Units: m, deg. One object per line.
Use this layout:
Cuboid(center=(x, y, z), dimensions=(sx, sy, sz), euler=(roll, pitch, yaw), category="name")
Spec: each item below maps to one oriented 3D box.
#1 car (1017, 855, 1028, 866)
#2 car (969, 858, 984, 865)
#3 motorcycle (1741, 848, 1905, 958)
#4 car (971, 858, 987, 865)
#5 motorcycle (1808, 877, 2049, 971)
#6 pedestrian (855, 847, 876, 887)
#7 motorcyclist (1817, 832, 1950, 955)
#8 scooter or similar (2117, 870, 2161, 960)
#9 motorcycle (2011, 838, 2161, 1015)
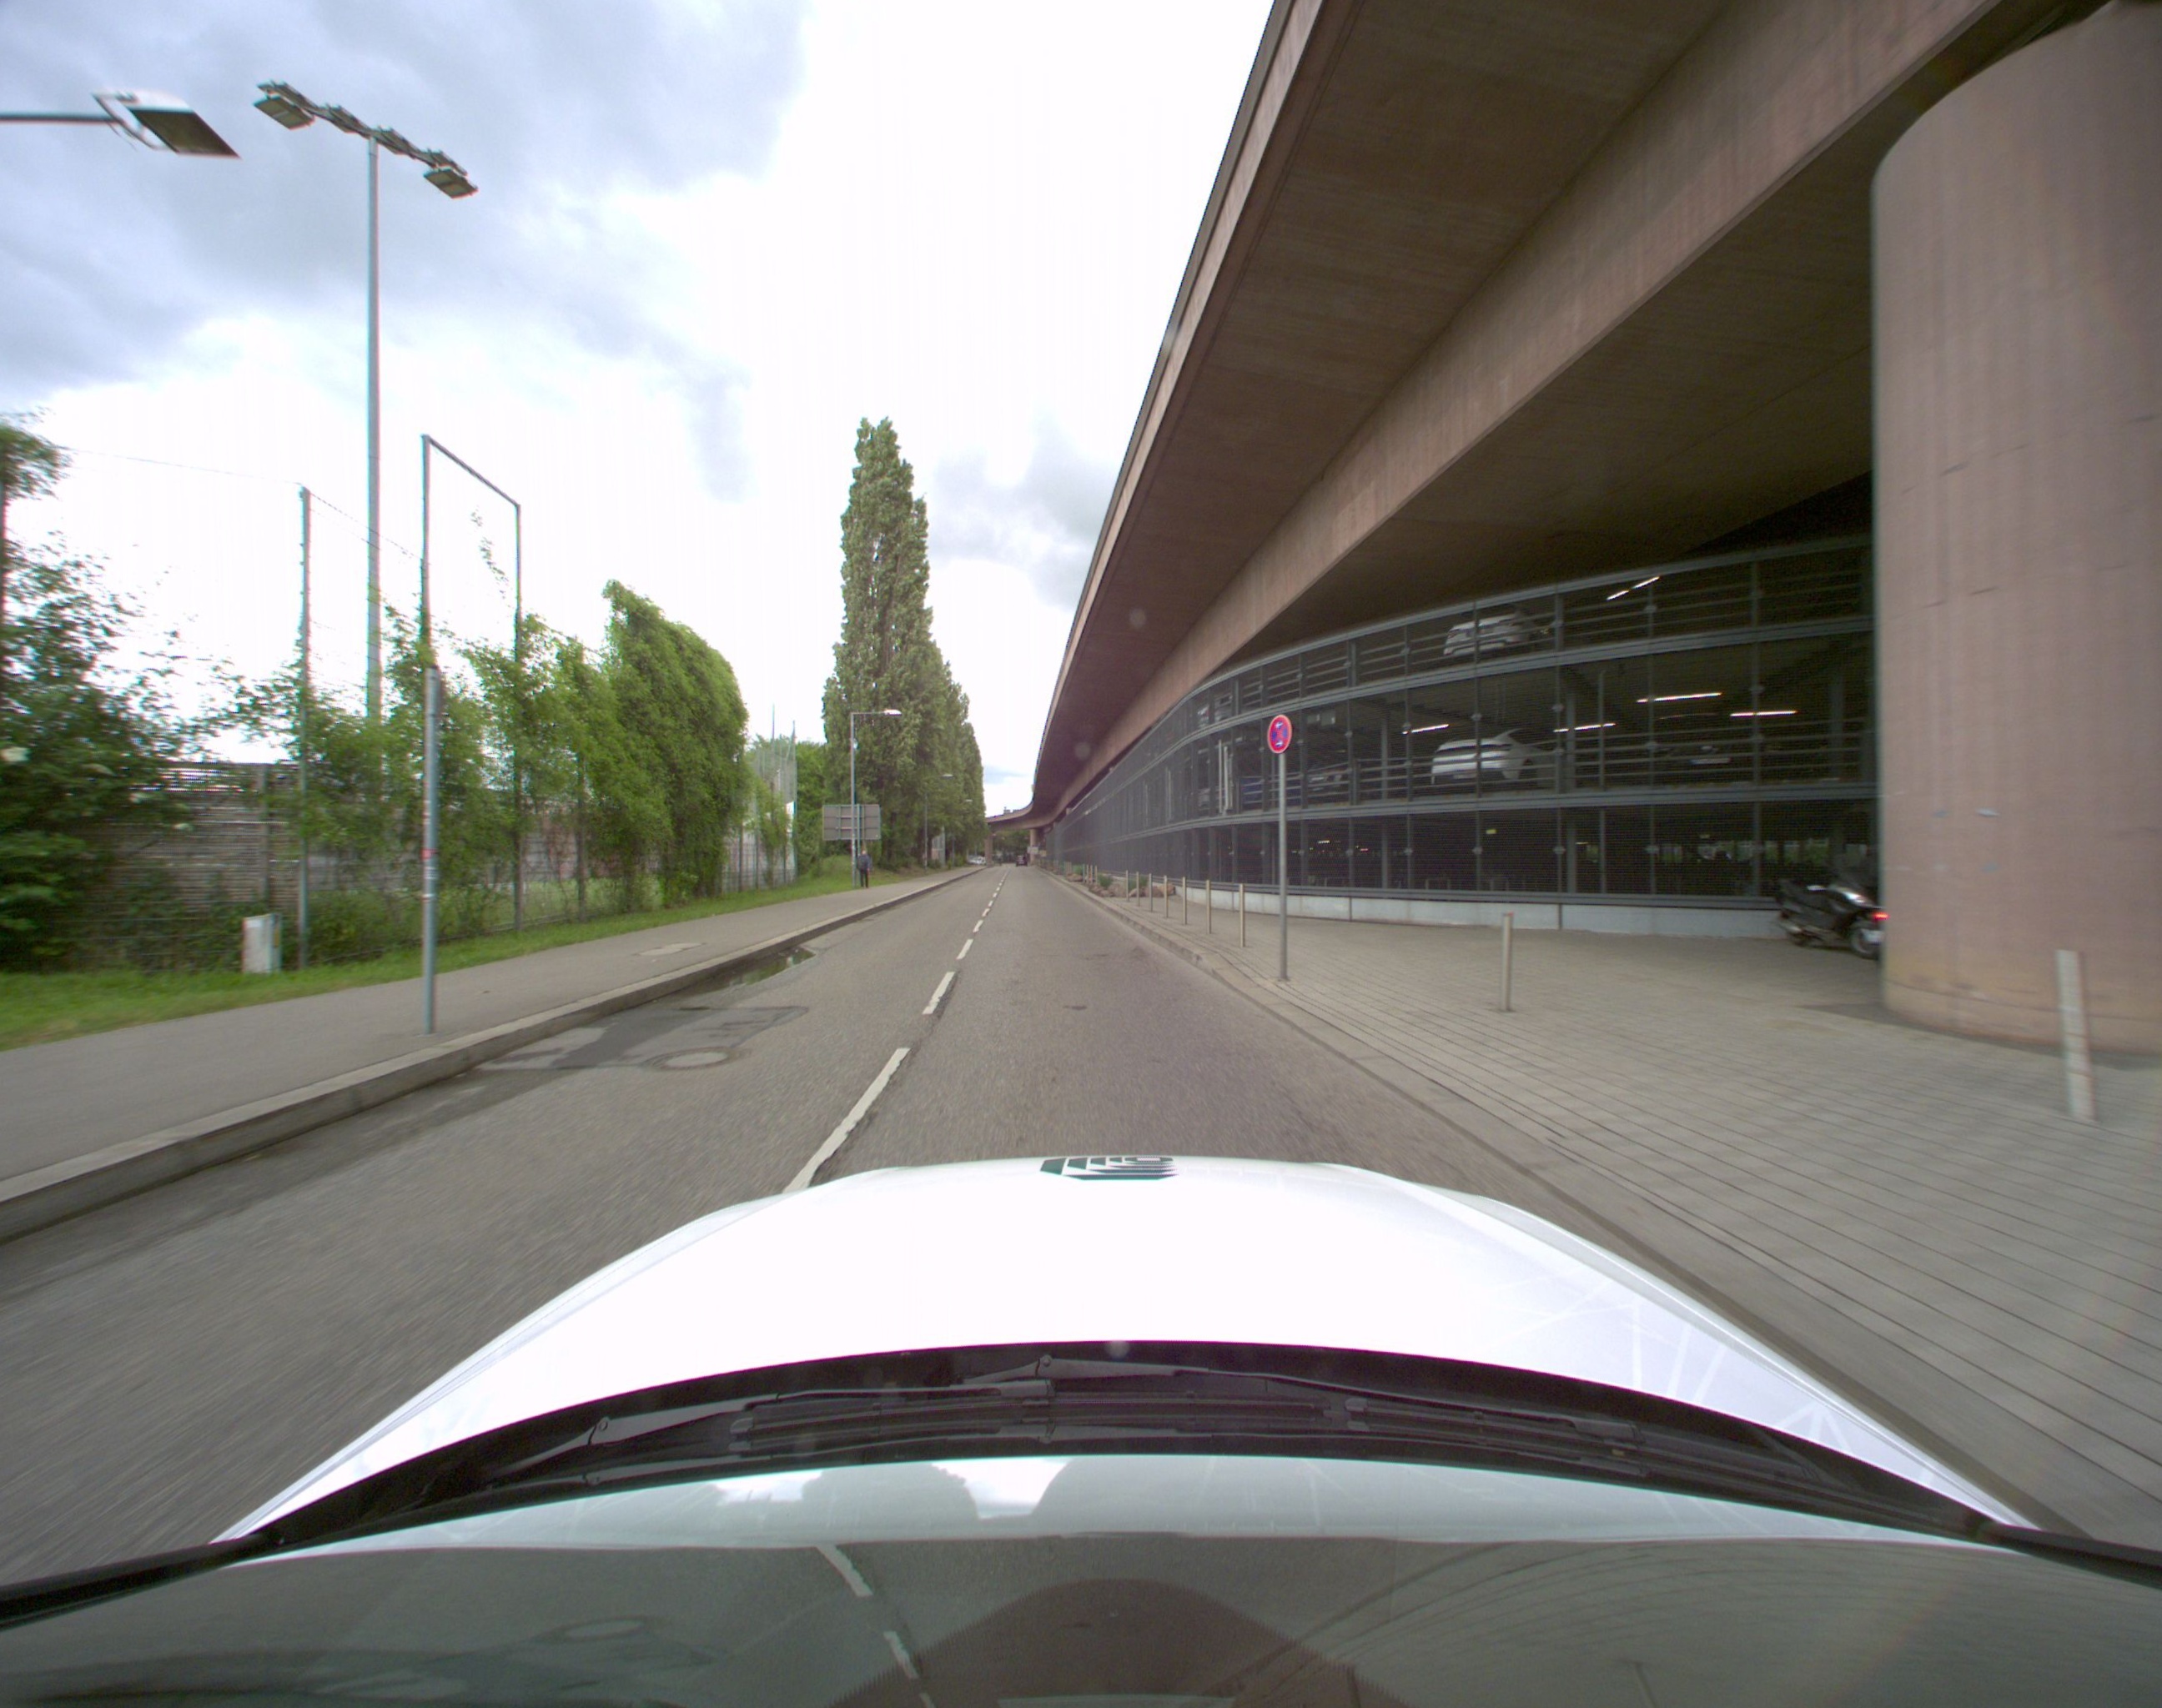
Cuboid(center=(-9.387, 1.053, 130.410), dimensions=(1.836, 1.711, 3.700), euler=(-1, 1, -4), category="car")
Cuboid(center=(-28.146, 1.935, 219.273), dimensions=(1.703, 1.716, 3.696), euler=(0, 2, 36), category="car")
Cuboid(center=(10.483, 0.633, 11.628), dimensions=(0.625, 1.420, 2.175), euler=(-1, 0, 9), category="motorcycle")
Cuboid(center=(-26.922, 2.031, 215.610), dimensions=(1.861, 1.716, 4.180), euler=(0, 2, 36), category="car")
Cuboid(center=(10.075, 0.811, 9.757), dimensions=(1.938, 1.022, 0.751), euler=(-1, 1, 9), category="motorcycle")
Cuboid(center=(-9.979, 0.598, 37.683), dimensions=(0.803, 1.780, 0.918), euler=(-1, 1, -8), category="pedestrian")
Cuboid(center=(9.638, 0.454, 9.821), dimensions=(0.861, 1.419, 0.766), euler=(-1, 1, 10), category="motorcyclist")
Cuboid(center=(14.092, 0.795, 10.331), dimensions=(0.397, 1.134, 1.253), euler=(-1, 1, 6), category="scooter or similar")
Cuboid(center=(9.203, 0.596, 6.820), dimensions=(0.644, 1.455, 1.750), euler=(-1, 1, -20), category="motorcycle")
